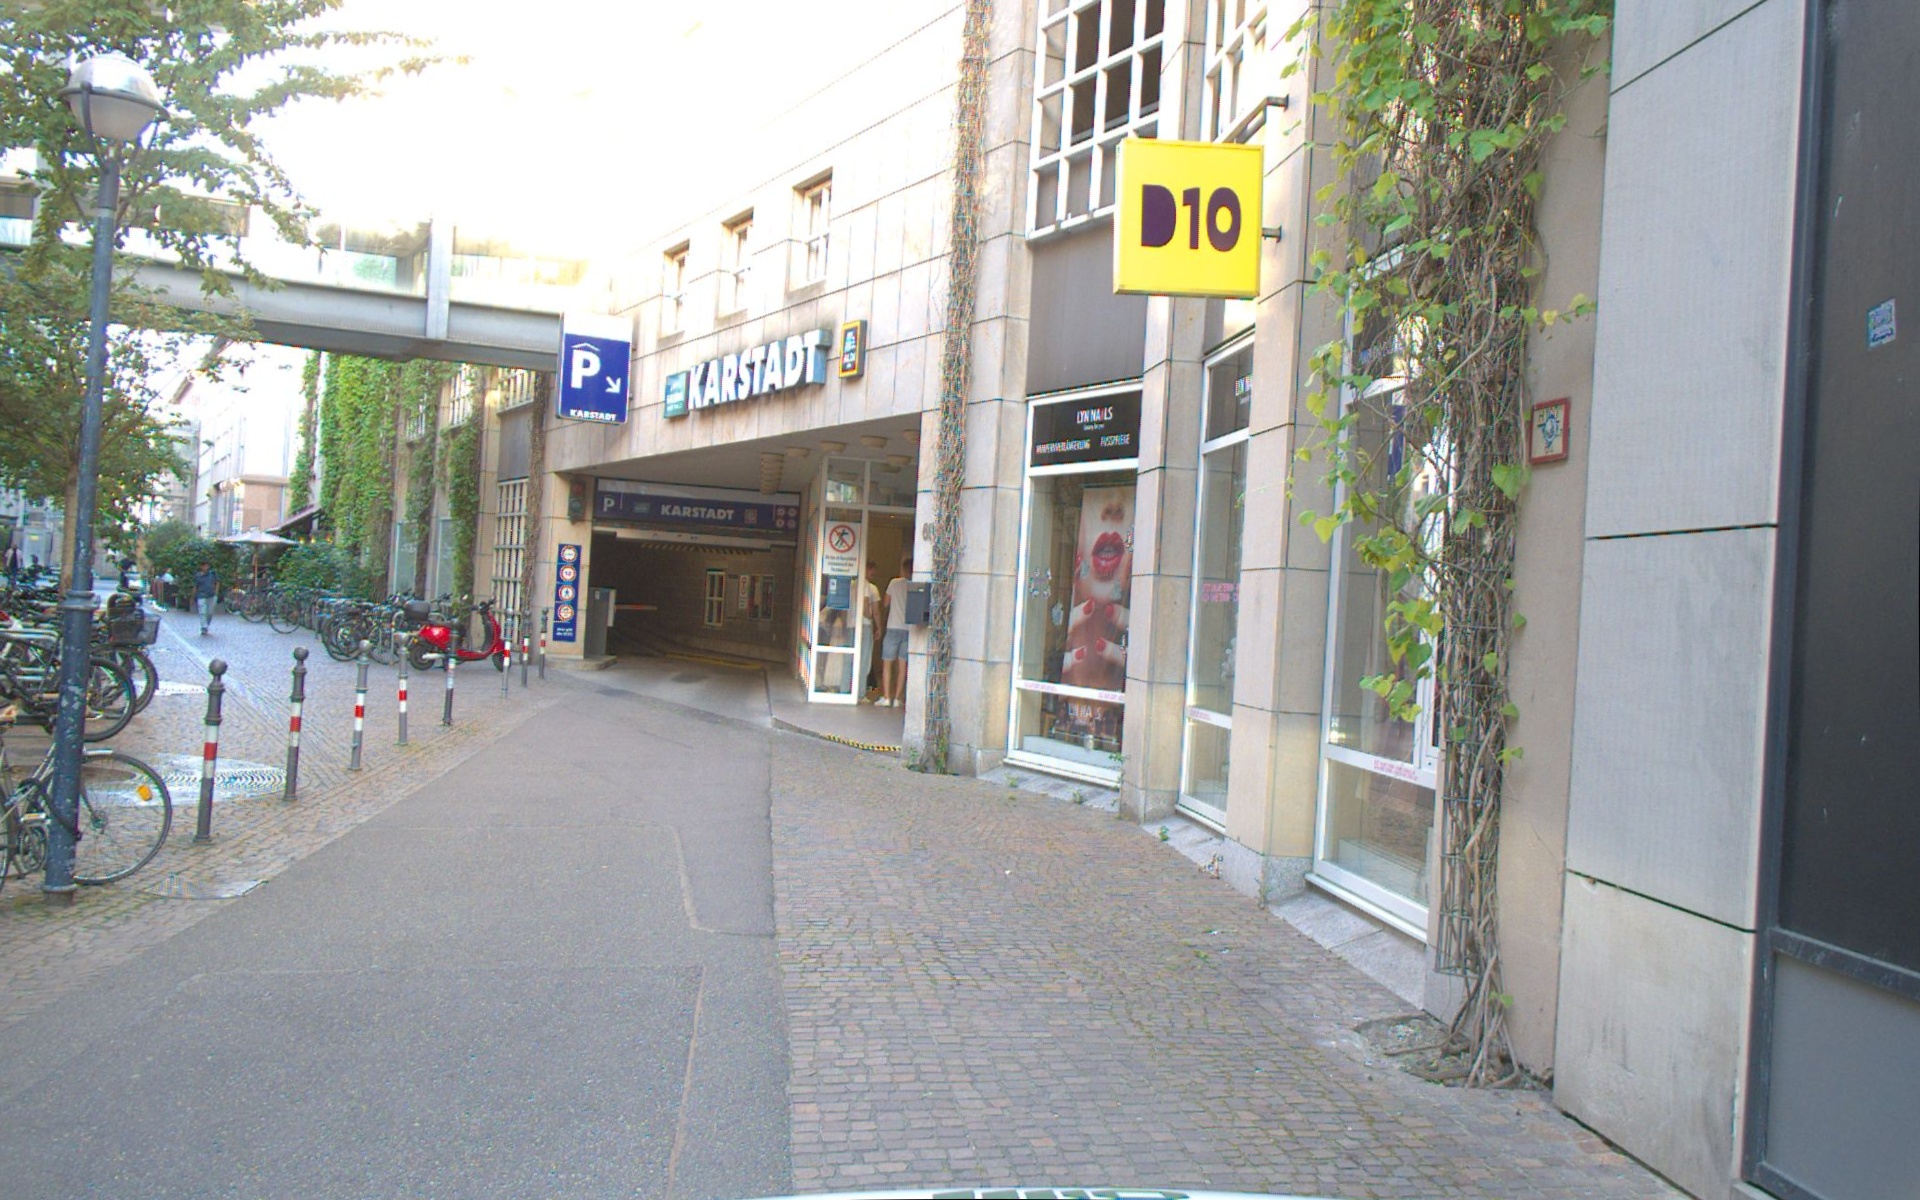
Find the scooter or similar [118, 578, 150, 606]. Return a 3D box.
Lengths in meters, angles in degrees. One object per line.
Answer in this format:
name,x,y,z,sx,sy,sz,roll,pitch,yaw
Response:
scooter or similar,-27.303,-0.258,54.651,0.881,0.858,0.903,3,0,-29

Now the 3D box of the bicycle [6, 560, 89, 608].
bicycle,-24.995,-0.441,45.332,1.888,1.203,0.691,3,0,-25

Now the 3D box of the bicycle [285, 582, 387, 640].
bicycle,-13.359,0.240,35.397,1.970,1.203,0.688,1,1,-27

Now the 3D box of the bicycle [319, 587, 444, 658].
bicycle,-10.149,0.403,29.013,1.970,1.203,0.796,1,1,-27

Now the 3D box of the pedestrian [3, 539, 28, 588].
pedestrian,-36.582,-1.409,64.058,0.766,1.836,0.628,3,0,-29

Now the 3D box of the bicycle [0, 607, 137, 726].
bicycle,-8.512,0.586,14.929,1.891,1.011,0.690,3,0,-28

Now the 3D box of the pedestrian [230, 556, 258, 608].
pedestrian,-25.966,-0.649,59.981,0.766,1.836,0.760,3,0,-29

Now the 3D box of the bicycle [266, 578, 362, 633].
bicycle,-14.675,0.132,37.595,1.970,1.203,0.688,1,1,-27

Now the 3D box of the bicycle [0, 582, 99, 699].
bicycle,-10.336,0.414,17.710,1.888,1.203,0.691,3,0,-25

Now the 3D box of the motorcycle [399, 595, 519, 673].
motorcycle,-7.834,0.537,25.886,1.723,1.175,0.590,1,0,-25

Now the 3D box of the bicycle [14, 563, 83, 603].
bicycle,-29.938,-0.555,54.354,1.888,1.203,0.691,3,0,-25

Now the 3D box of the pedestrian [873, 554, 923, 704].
pedestrian,-0.799,0.371,21.387,0.531,1.894,0.408,3,0,-1

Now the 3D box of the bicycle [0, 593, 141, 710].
bicycle,-9.481,0.516,16.919,1.888,1.121,0.691,3,0,-25

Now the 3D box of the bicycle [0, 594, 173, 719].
bicycle,-8.621,0.534,15.840,1.891,1.121,0.690,3,0,-28

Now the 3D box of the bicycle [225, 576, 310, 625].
bicycle,-17.949,0.017,42.858,1.970,1.203,0.688,1,1,-27

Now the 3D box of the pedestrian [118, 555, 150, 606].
pedestrian,-27.692,-0.663,55.457,0.881,1.668,0.903,3,0,-29

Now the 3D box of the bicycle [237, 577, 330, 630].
bicycle,-16.043,0.079,39.239,1.970,1.203,0.688,1,1,-27

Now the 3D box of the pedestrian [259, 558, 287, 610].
pedestrian,-24.985,-0.594,60.154,0.766,1.836,0.760,3,0,-29

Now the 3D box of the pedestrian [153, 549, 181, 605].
pedestrian,-26.574,-0.775,55.429,0.756,1.836,0.770,3,0,-29

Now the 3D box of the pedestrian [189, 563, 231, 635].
pedestrian,-16.558,-0.024,36.496,0.740,1.536,0.632,3,0,-29

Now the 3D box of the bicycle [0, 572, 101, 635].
bicycle,-18.882,0.071,34.195,1.888,1.203,0.691,3,0,-25

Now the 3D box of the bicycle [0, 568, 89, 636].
bicycle,-17.710,0.033,31.494,1.888,1.203,0.691,3,0,-25

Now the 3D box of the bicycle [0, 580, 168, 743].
bicycle,-7.612,0.494,13.628,1.891,1.283,0.801,3,0,-28

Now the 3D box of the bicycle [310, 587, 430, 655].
bicycle,-10.728,0.383,30.076,1.970,1.203,0.796,1,1,-27

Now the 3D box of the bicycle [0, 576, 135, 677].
bicycle,-11.697,0.334,21.247,1.888,1.203,0.691,3,0,-25

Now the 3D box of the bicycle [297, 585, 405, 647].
bicycle,-12.231,0.326,33.222,1.970,1.203,0.688,1,1,-27

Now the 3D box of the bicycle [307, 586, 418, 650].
bicycle,-11.708,0.351,32.404,1.970,1.203,0.688,1,1,-27

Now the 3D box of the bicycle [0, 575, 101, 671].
bicycle,-12.482,0.290,21.885,1.888,1.203,0.691,3,0,-25

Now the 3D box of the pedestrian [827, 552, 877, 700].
pedestrian,-1.400,0.333,21.544,0.531,1.878,0.408,3,0,-1

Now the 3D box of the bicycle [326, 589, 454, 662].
bicycle,-9.710,0.431,28.184,1.970,1.203,0.690,1,1,-27

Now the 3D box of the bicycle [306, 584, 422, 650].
bicycle,-11.333,0.328,31.459,1.970,1.203,0.796,1,1,-27

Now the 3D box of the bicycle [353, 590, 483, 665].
bicycle,-8.980,0.459,27.418,1.970,1.203,0.690,1,1,-27

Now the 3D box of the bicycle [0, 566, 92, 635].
bicycle,-17.257,0.004,30.743,1.888,1.203,0.691,3,0,-25

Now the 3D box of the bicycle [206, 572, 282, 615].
bicycle,-20.702,-0.188,47.823,1.970,1.203,0.688,1,1,-27

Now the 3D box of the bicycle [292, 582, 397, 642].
bicycle,-12.793,0.244,34.392,1.970,1.203,0.688,1,1,-27

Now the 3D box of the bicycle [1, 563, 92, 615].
bicycle,-22.934,-0.268,41.569,1.888,1.203,0.691,3,0,-25

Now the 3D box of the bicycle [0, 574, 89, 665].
bicycle,-13.161,0.250,22.842,1.888,1.203,0.691,3,0,-25

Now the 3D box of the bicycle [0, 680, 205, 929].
bicycle,-4.260,0.912,7.688,0.494,0.983,1.696,2,0,8

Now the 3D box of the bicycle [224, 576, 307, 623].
bicycle,-18.316,-0.015,43.624,1.970,1.203,0.688,1,1,-27
